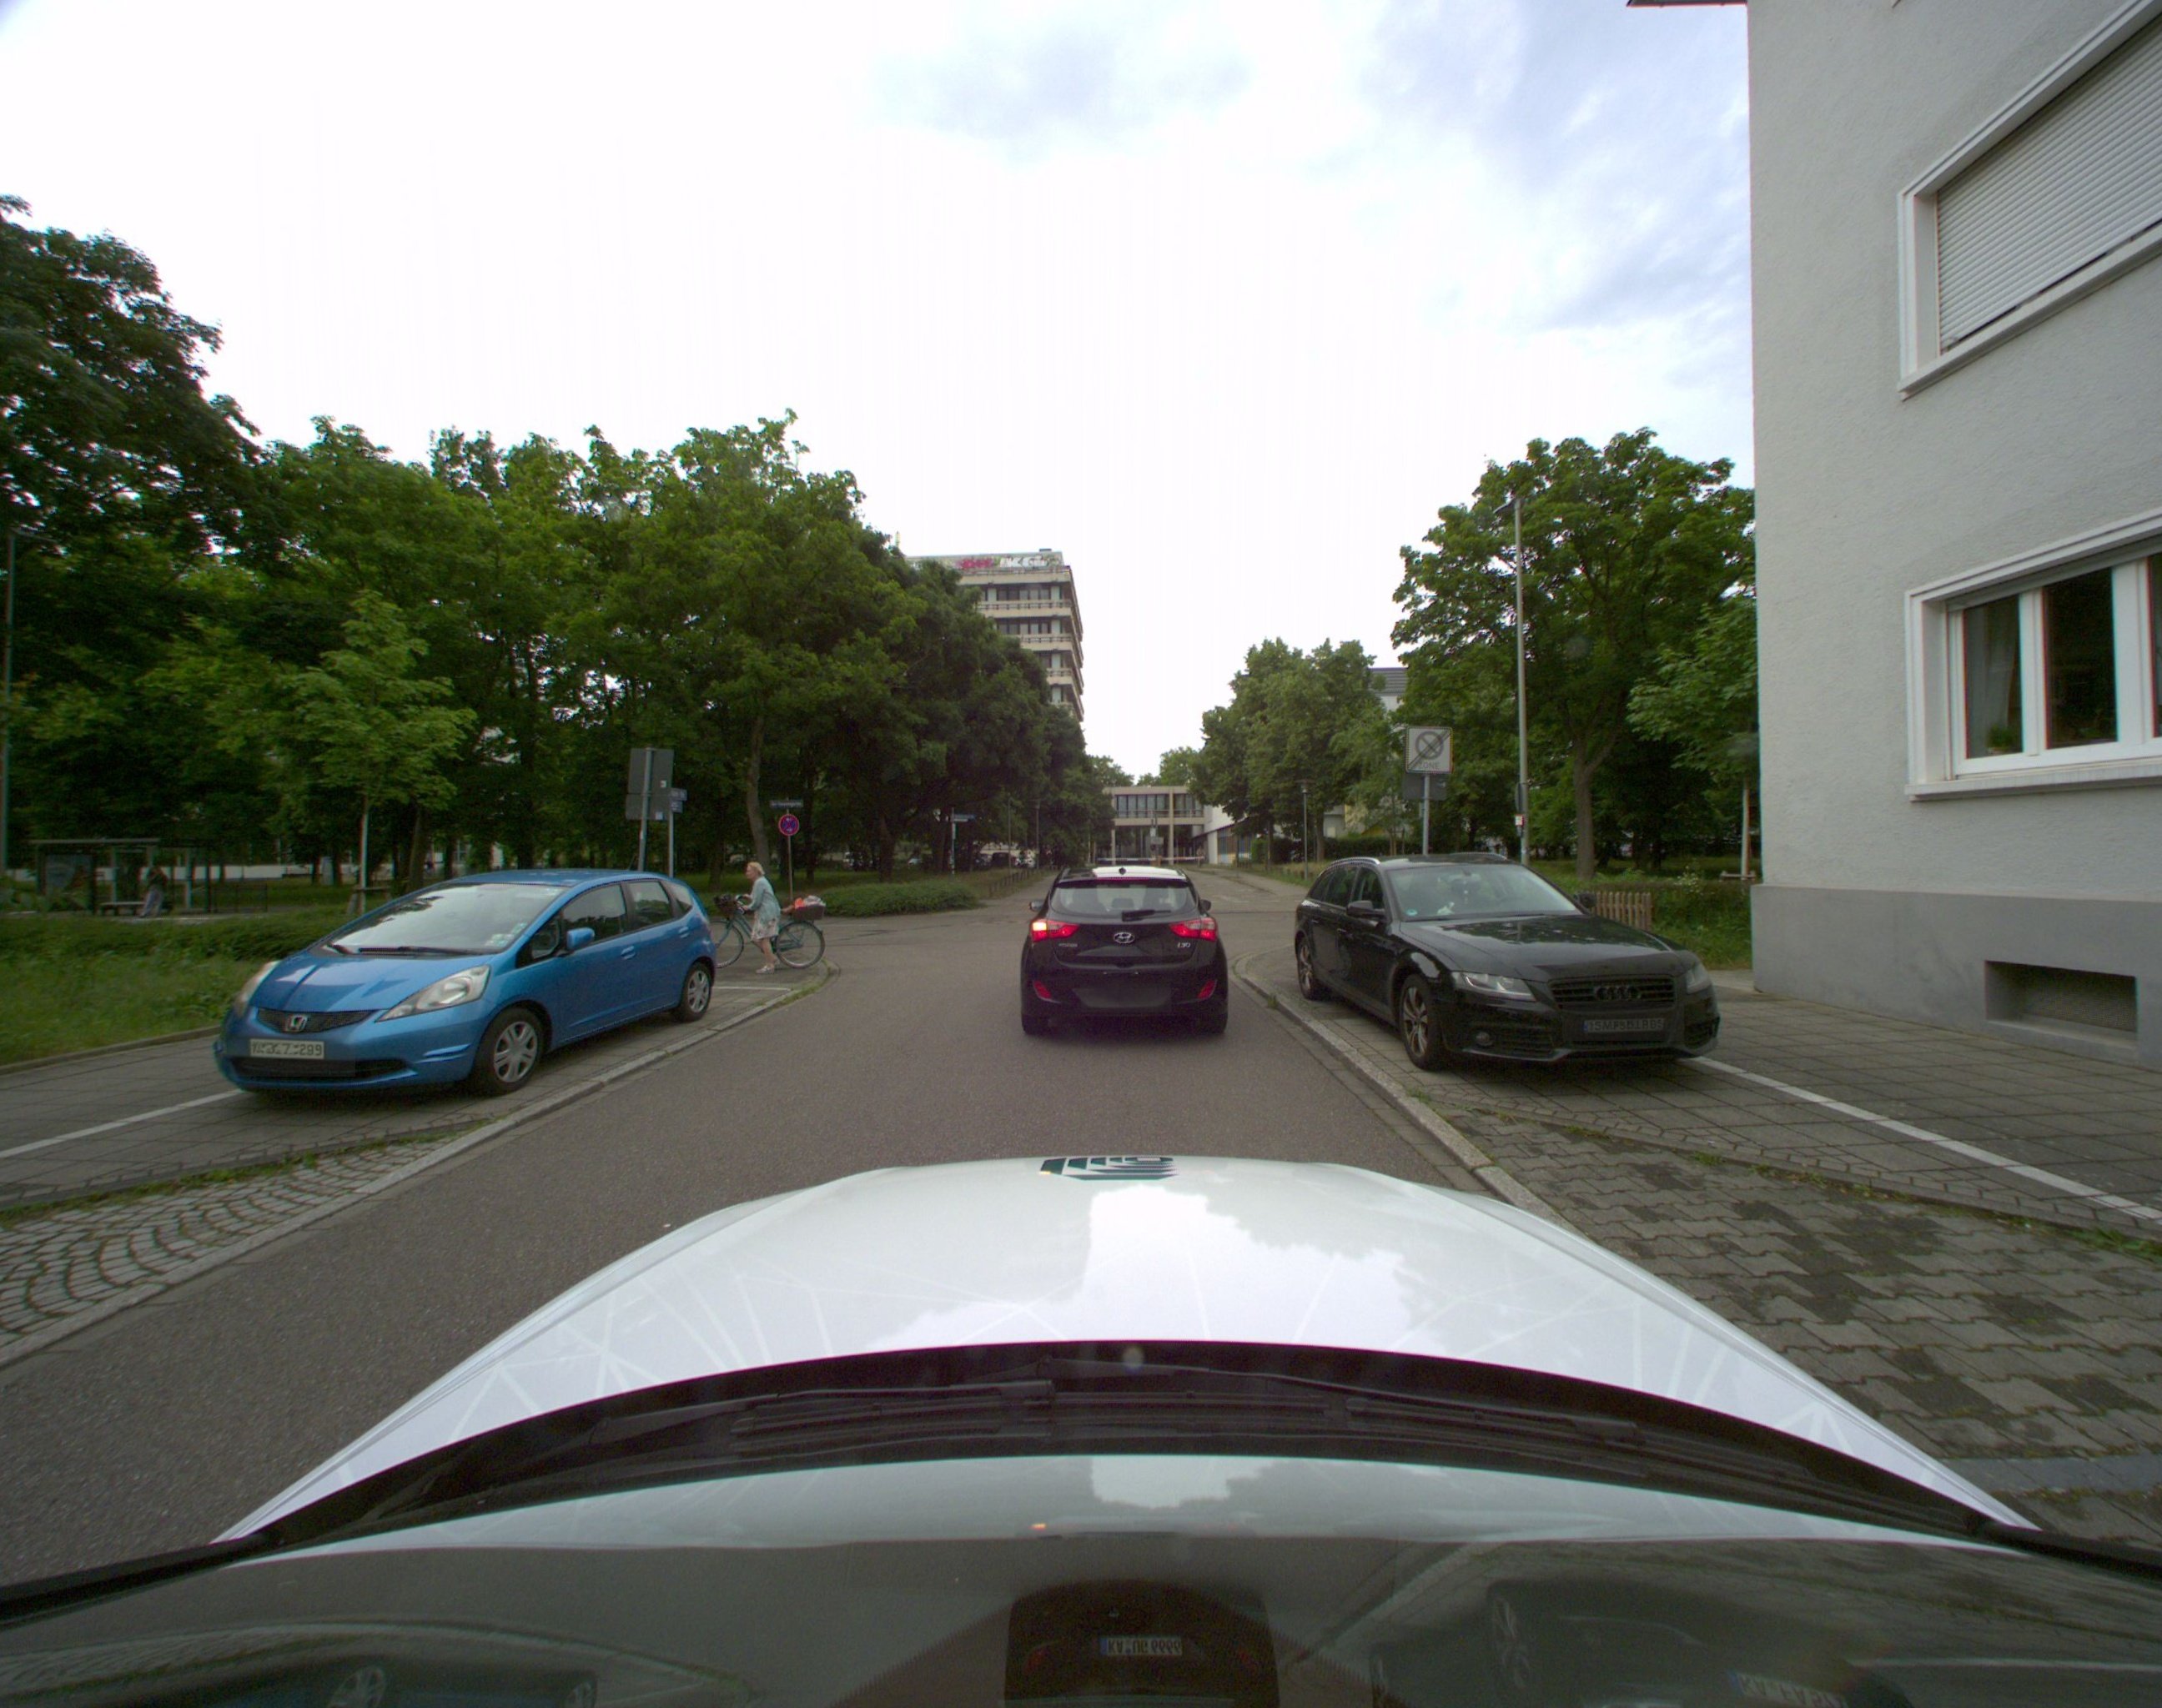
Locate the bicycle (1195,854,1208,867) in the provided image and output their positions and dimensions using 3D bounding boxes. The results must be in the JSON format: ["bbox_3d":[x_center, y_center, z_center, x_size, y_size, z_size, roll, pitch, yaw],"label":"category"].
[{"bbox_3d":[10.489,0.569,70.858,0.863,1.074,2.143,-1,0,3],"label":"bicycle"}]

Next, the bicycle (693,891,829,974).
[{"bbox_3d":[-4.680,1.123,11.994,1.819,1.119,0.534,1,0,-22],"label":"bicycle"}]

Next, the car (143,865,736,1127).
[{"bbox_3d":[-4.654,0.870,6.821,1.724,1.462,3.958,1,0,1],"label":"car"}]

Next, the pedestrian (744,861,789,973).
[{"bbox_3d":[-4.530,0.883,11.720,0.568,1.550,0.444,-1,0,-25],"label":"pedestrian"}]

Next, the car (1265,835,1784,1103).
[{"bbox_3d":[3.067,0.660,7.005,1.854,1.462,4.724,-2,0,0],"label":"car"}]

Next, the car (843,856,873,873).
[{"bbox_3d":[-21.792,0.994,79.670,1.913,1.618,3.997,-1,0,-2],"label":"car"}]

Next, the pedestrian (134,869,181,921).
[{"bbox_3d":[-29.123,1.275,25.688,0.693,1.583,0.656,-1,0,3],"label":"pedestrian"}]

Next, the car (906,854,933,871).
[{"bbox_3d":[-15.631,0.823,78.998,1.988,1.618,3.997,-1,0,-2],"label":"car"}]

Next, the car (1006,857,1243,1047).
[{"bbox_3d":[0.332,0.789,8.304,1.840,1.462,3.826,-1,-1,0],"label":"car"}]

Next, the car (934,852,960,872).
[{"bbox_3d":[-12.923,0.790,78.865,1.988,1.728,3.996,-1,-2,-2],"label":"car"}]

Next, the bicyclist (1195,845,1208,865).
[{"bbox_3d":[10.488,0.079,70.812,1.013,1.644,0.924,-1,0,2],"label":"bicyclist"}]

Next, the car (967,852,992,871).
[{"bbox_3d":[-9.817,0.760,79.121,1.988,1.794,3.996,-1,-2,-2],"label":"car"}]

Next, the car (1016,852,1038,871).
[{"bbox_3d":[-5.237,0.712,79.074,1.988,1.762,3.996,-1,-1,-2],"label":"car"}]
